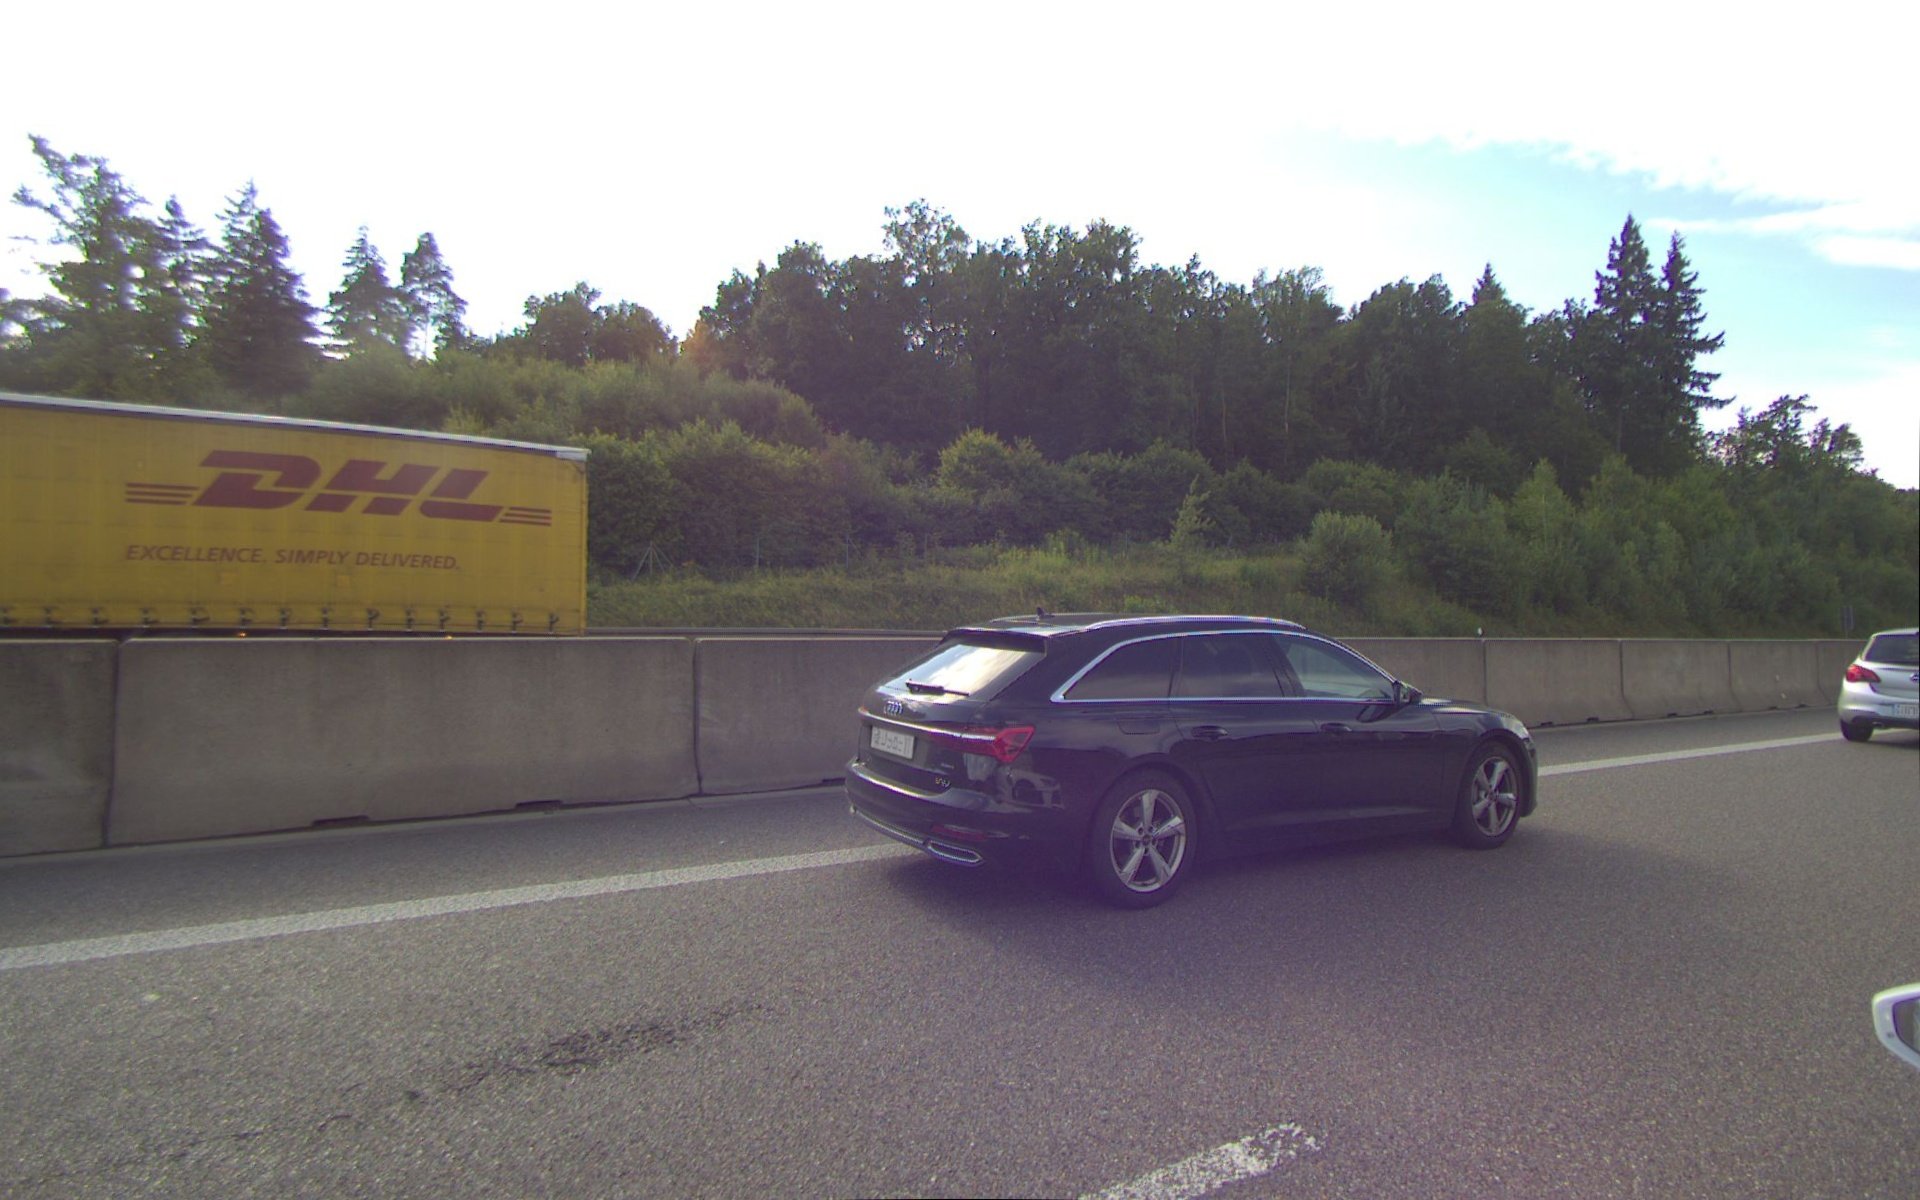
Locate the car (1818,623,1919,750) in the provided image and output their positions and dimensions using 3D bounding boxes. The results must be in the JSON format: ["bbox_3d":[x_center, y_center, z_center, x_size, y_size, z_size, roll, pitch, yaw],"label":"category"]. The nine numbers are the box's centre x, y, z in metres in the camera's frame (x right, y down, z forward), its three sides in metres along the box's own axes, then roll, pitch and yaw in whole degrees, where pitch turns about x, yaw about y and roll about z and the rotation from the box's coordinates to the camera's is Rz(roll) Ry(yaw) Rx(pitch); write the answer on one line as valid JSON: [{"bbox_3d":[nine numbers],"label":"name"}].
[{"bbox_3d":[12.976,1.058,12.963,3.994,1.485,1.738,1,-1,-31],"label":"car"}]

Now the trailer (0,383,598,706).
[{"bbox_3d":[-12.679,-0.721,14.911,13.409,4.258,2.819,2,0,-31],"label":"trailer"}]

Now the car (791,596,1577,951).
[{"bbox_3d":[1.550,0.779,6.276,4.794,1.491,1.873,1,0,-30],"label":"car"}]
